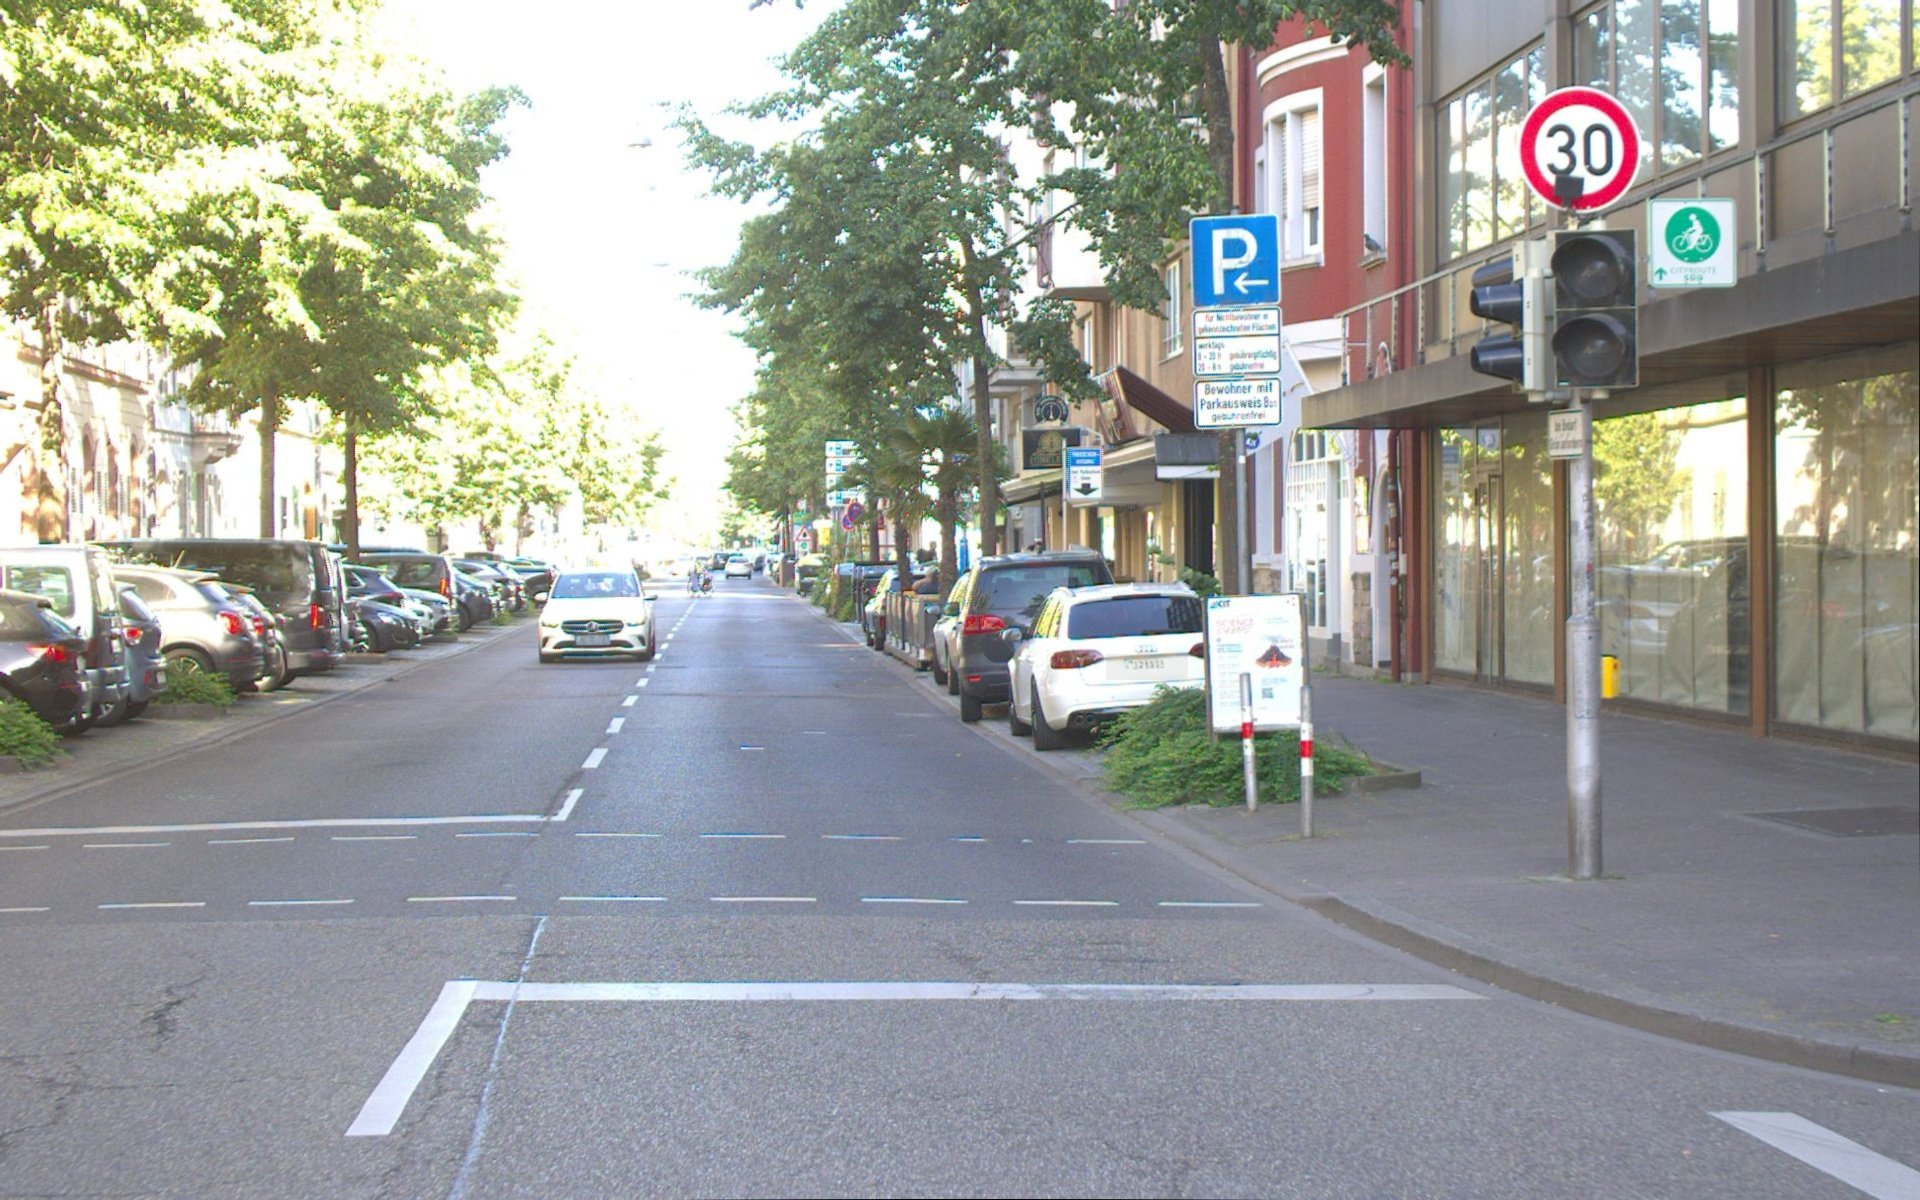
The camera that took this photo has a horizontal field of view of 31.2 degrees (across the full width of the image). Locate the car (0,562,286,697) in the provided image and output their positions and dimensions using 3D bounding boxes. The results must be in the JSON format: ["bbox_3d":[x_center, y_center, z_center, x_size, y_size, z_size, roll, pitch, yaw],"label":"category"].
[{"bbox_3d":[-10.510,0.346,41.885,4.338,1.590,1.917,0,0,-6],"label":"car"}]

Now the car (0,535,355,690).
[{"bbox_3d":[-10.280,0.150,44.478,4.573,1.920,1.930,0,0,-1],"label":"car"}]

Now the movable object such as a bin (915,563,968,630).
[{"bbox_3d":[-0.404,-0.073,74.309,1.077,1.426,1.295,0,1,-4],"label":"movable object such as a bin"}]

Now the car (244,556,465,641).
[{"bbox_3d":[-13.026,-0.032,74.186,4.466,1.766,1.917,0,0,-2],"label":"car"}]

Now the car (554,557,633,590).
[{"bbox_3d":[-19.440,-1.420,182.429,3.987,1.688,2.000,0,1,1],"label":"car"}]

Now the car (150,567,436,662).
[{"bbox_3d":[-11.190,0.240,57.891,4.466,1.535,1.917,0,0,-2],"label":"car"}]

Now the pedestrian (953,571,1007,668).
[{"bbox_3d":[0.321,0.301,54.647,0.712,1.531,0.769,0,0,11],"label":"pedestrian"}]

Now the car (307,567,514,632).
[{"bbox_3d":[-12.852,-0.015,80.542,4.645,1.454,1.684,0,0,-4],"label":"car"}]

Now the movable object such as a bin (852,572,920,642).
[{"bbox_3d":[-1.582,0.144,73.070,1.398,1.449,1.146,0,1,-4],"label":"movable object such as a bin"}]

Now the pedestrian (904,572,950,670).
[{"bbox_3d":[-0.527,0.326,54.624,0.650,1.531,0.980,-1,0,-5],"label":"pedestrian"}]

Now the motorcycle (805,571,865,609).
[{"bbox_3d":[-4.444,-0.359,122.023,1.977,1.325,0.912,-1,1,-16],"label":"motorcycle"}]

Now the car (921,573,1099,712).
[{"bbox_3d":[0.582,0.493,43.997,1.822,1.591,4.842,-3,1,-4],"label":"car"}]

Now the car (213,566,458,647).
[{"bbox_3d":[-12.232,0.112,67.555,4.466,1.535,1.916,0,0,0],"label":"car"}]

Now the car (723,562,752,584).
[{"bbox_3d":[-14.287,-1.728,220.833,1.792,1.406,4.001,0,1,-4],"label":"car"}]

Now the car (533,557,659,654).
[{"bbox_3d":[-5.991,0.074,56.997,1.910,1.539,4.354,0,0,-4],"label":"car"}]

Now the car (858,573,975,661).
[{"bbox_3d":[-0.845,0.282,63.372,1.822,1.467,4.912,-3,1,-4],"label":"car"}]

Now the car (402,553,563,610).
[{"bbox_3d":[-14.471,-0.554,104.384,4.680,1.687,1.808,0,0,-2],"label":"car"}]

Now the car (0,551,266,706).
[{"bbox_3d":[-10.289,0.312,39.541,4.338,1.727,1.917,0,0,-6],"label":"car"}]

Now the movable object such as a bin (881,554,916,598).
[{"bbox_3d":[-2.325,-0.900,129.929,1.205,1.622,1.498,-1,1,-5],"label":"movable object such as a bin"}]

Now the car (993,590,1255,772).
[{"bbox_3d":[1.396,0.671,31.228,1.822,1.398,4.842,-3,1,-3],"label":"car"}]

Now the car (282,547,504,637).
[{"bbox_3d":[-12.653,-0.188,76.951,4.680,1.943,1.917,0,0,-2],"label":"car"}]

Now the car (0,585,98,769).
[{"bbox_3d":[-9.658,0.636,29.520,4.338,1.539,1.965,0,0,-15],"label":"car"}]

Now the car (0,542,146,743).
[{"bbox_3d":[-10.020,0.366,32.225,4.339,1.818,1.930,0,0,-2],"label":"car"}]

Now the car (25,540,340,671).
[{"bbox_3d":[-11.209,0.079,49.629,4.338,1.828,1.917,0,0,-13],"label":"car"}]

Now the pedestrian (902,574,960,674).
[{"bbox_3d":[-0.443,0.369,53.328,0.749,1.531,0.807,0,0,11],"label":"pedestrian"}]

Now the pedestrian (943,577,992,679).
[{"bbox_3d":[0.112,0.419,52.241,0.692,1.531,0.776,-1,0,-3],"label":"pedestrian"}]

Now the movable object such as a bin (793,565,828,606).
[{"bbox_3d":[-5.759,-0.553,132.299,1.143,1.557,1.459,-1,1,4],"label":"movable object such as a bin"}]

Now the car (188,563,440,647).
[{"bbox_3d":[-12.139,0.088,64.799,4.465,1.535,1.917,0,0,-4],"label":"car"}]

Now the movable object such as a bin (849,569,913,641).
[{"bbox_3d":[-1.709,0.097,74.228,1.330,1.537,1.146,0,1,-4],"label":"movable object such as a bin"}]

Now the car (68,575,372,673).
[{"bbox_3d":[-11.250,0.355,52.529,4.338,1.434,1.917,0,0,-5],"label":"car"}]

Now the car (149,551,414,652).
[{"bbox_3d":[-11.861,0.025,60.342,4.339,1.703,1.917,0,0,-4],"label":"car"}]

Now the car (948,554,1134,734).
[{"bbox_3d":[0.816,0.417,37.634,1.822,1.771,4.930,-3,1,0],"label":"car"}]

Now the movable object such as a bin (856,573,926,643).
[{"bbox_3d":[-1.454,0.159,71.897,1.398,1.449,1.146,0,1,-4],"label":"movable object such as a bin"}]

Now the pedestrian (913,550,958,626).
[{"bbox_3d":[-0.619,-0.305,87.486,0.926,1.929,0.760,0,1,21],"label":"pedestrian"}]

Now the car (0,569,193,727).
[{"bbox_3d":[-10.169,0.456,34.857,4.339,1.539,1.916,1,0,1],"label":"car"}]

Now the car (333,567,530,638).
[{"bbox_3d":[-13.195,0.055,85.937,4.680,1.706,1.808,0,0,-2],"label":"car"}]

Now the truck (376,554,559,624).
[{"bbox_3d":[-14.132,-0.323,98.899,5.084,1.931,2.000,-1,1,-4],"label":"truck"}]
